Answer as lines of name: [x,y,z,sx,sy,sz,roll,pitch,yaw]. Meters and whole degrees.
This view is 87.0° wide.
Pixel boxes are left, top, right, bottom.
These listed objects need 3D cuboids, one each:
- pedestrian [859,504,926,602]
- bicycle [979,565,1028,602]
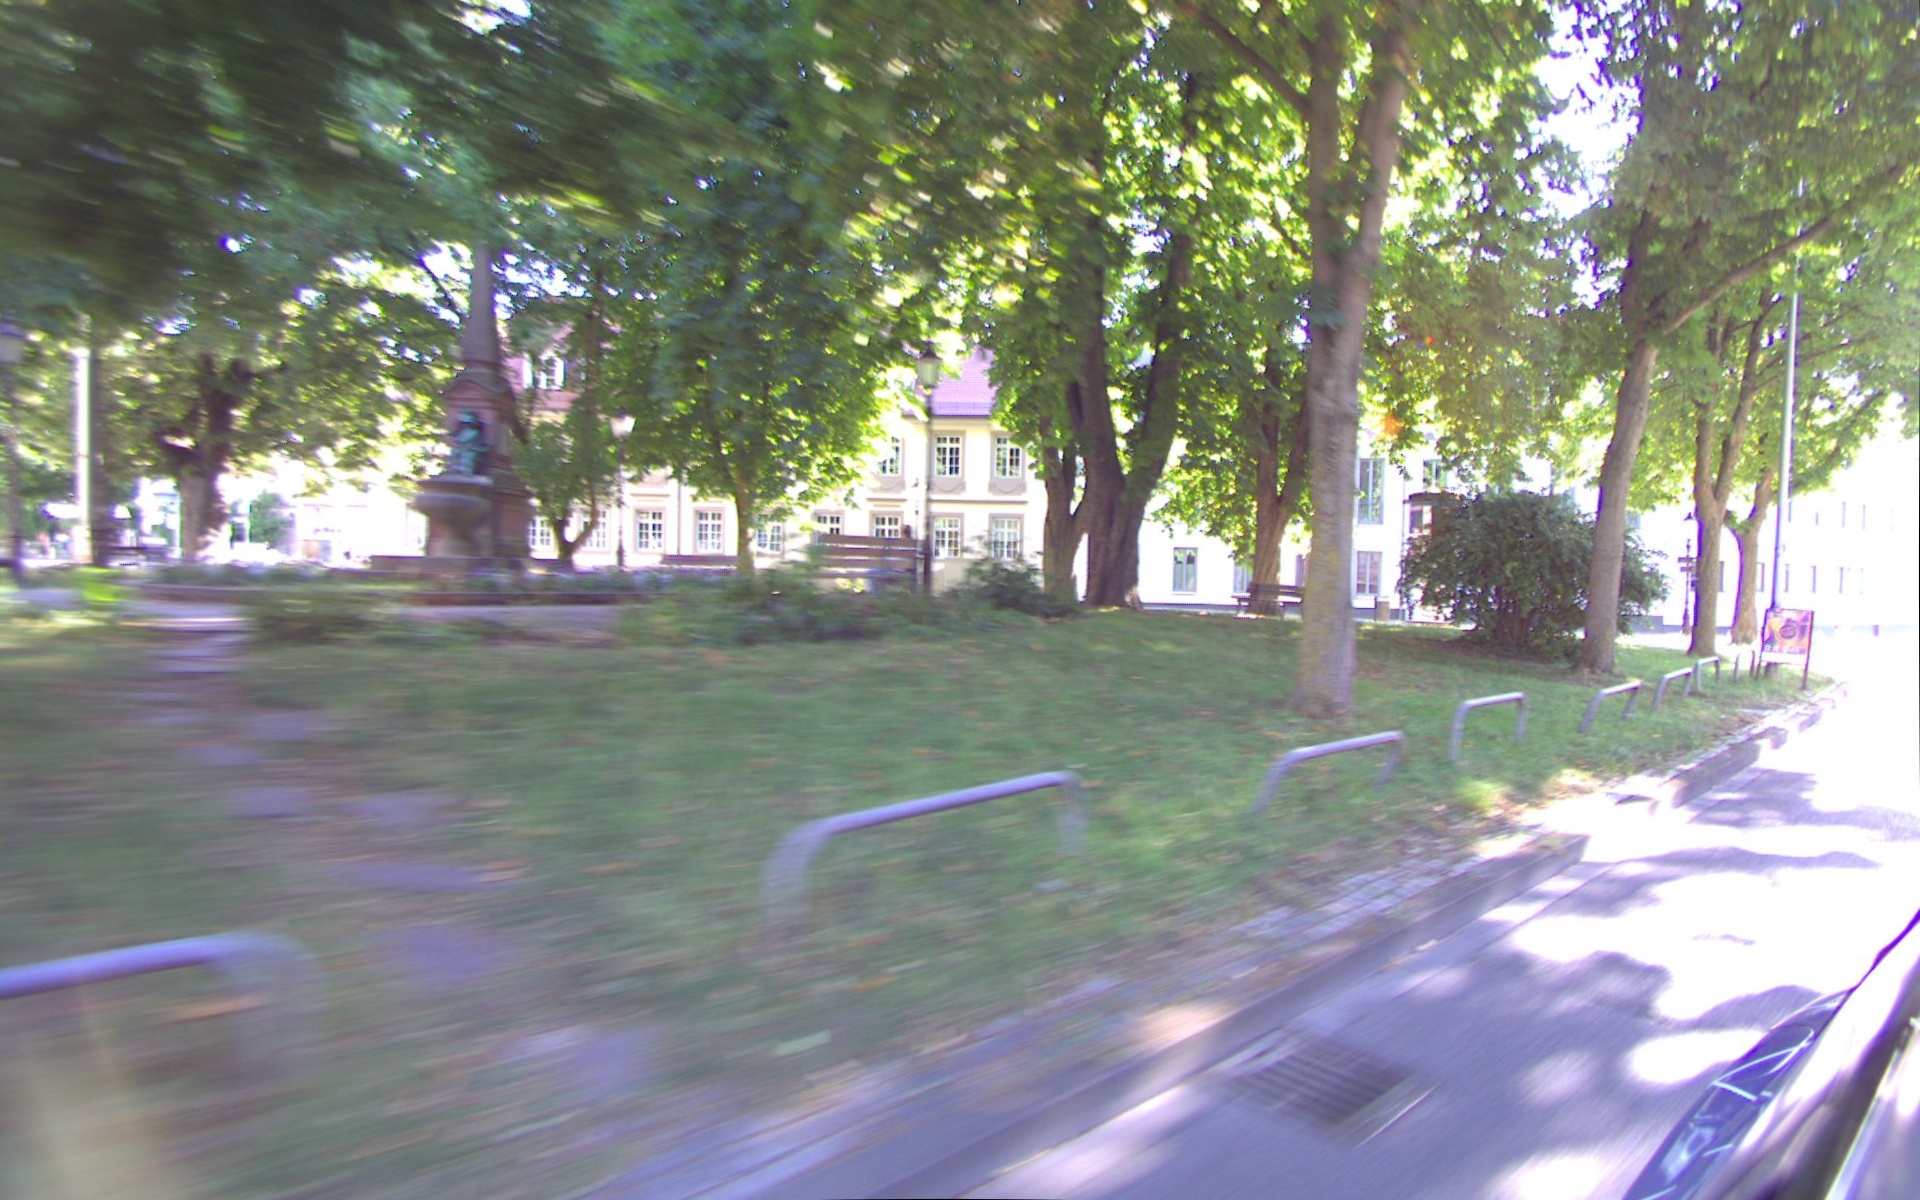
pedestrian: [-0.952,-0.666,14.377,0.687,1.334,0.678,3,2,18]
bicycle: [1.684,-0.639,39.161,1.739,1.333,0.719,3,2,15]
